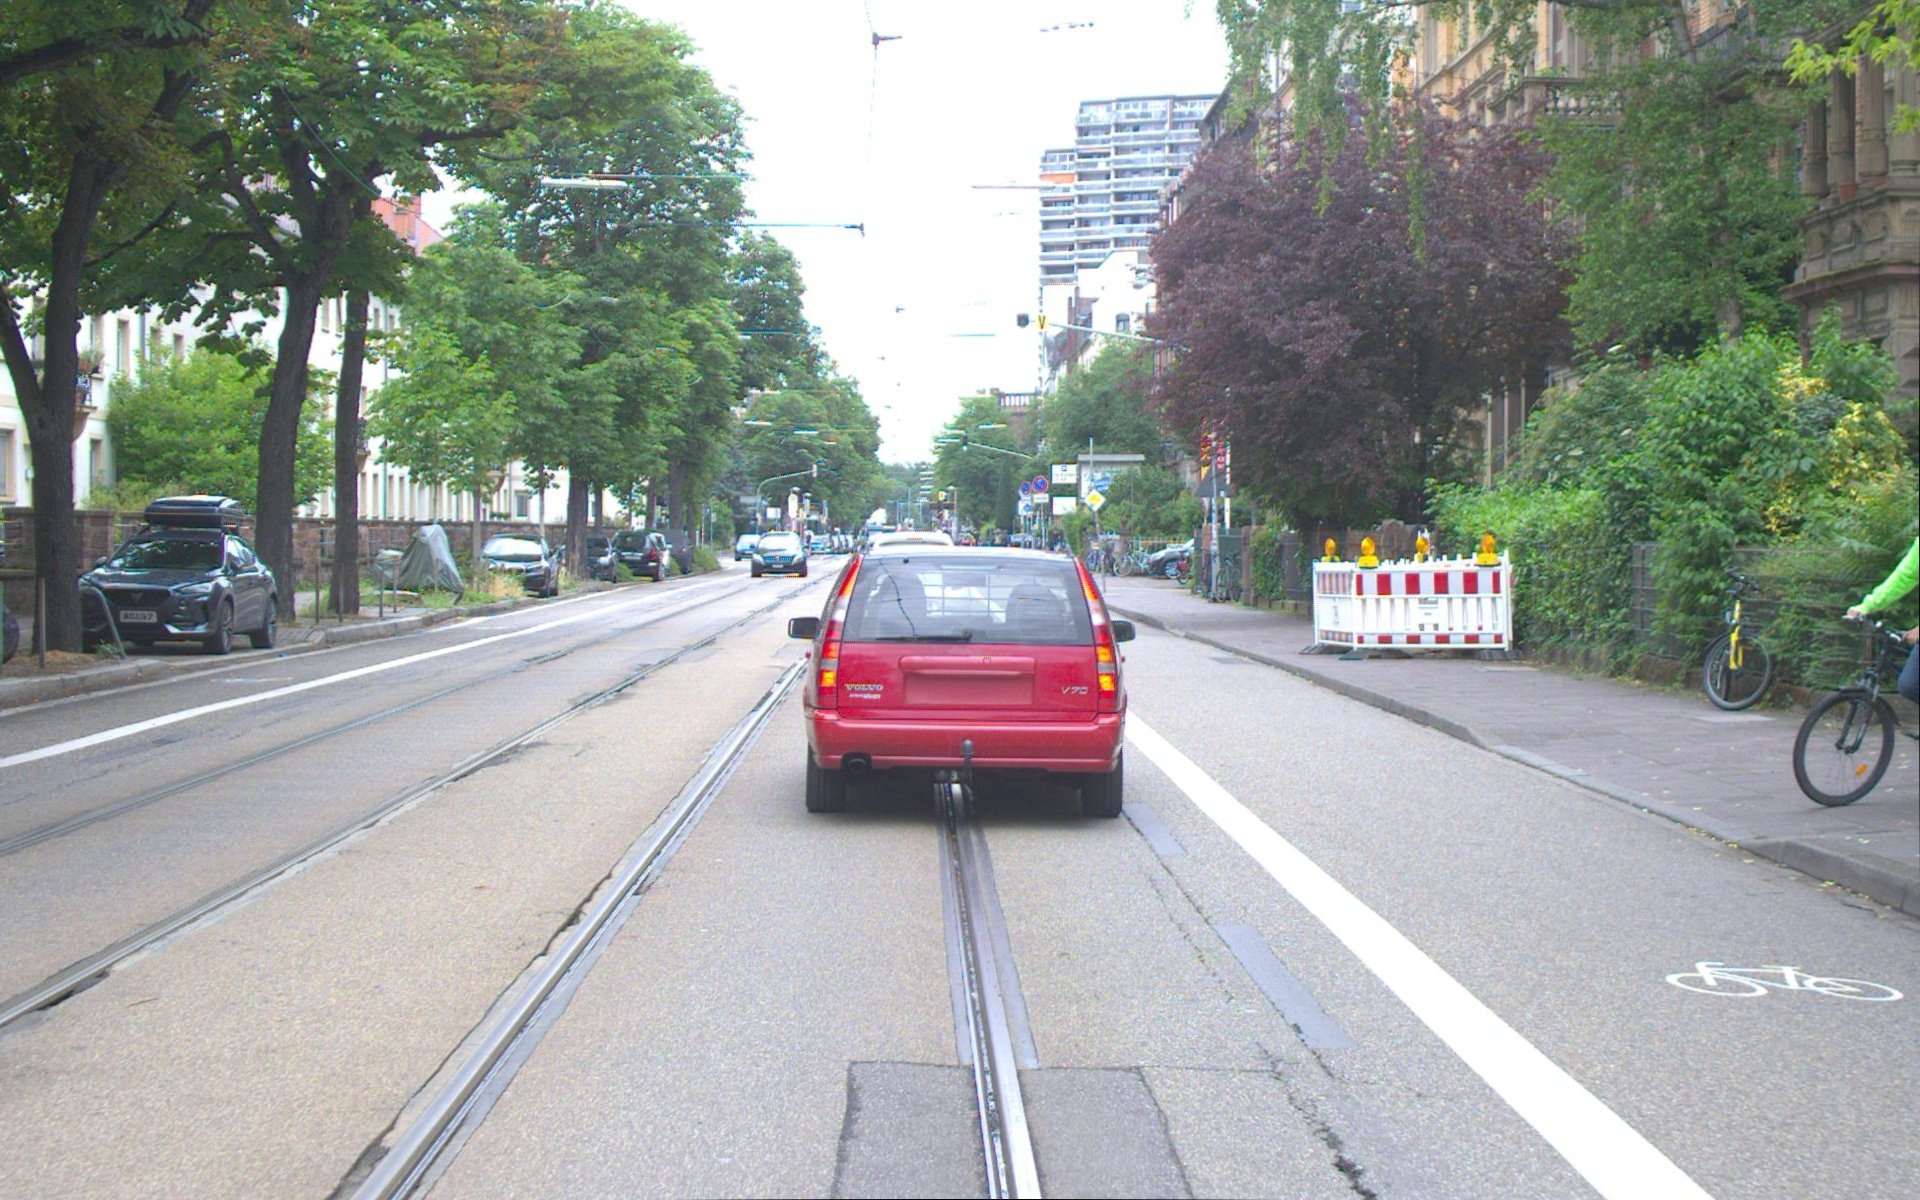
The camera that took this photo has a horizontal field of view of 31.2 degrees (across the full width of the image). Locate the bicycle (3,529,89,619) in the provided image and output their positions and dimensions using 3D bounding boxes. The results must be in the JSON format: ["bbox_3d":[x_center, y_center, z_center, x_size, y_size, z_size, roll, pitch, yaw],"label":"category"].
[{"bbox_3d":[-14.332,-0.424,53.963,0.792,1.377,2.141,0,1,-1],"label":"bicycle"}]

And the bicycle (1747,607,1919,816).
[{"bbox_3d":[5.404,0.587,19.145,1.841,1.072,0.606,-3,1,-2],"label":"bicycle"}]

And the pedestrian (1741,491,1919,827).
[{"bbox_3d":[5.014,0.290,18.637,1.228,1.727,1.018,-3,1,-1],"label":"pedestrian"}]

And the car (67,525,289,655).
[{"bbox_3d":[-9.718,-0.162,43.017,1.777,1.505,4.238,1,1,0],"label":"car"}]

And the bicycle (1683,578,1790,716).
[{"bbox_3d":[6.136,0.354,27.218,0.479,1.041,1.531,0,1,0],"label":"bicycle"}]

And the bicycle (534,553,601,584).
[{"bbox_3d":[-10.847,-0.874,95.042,1.748,0.841,0.684,1,1,1],"label":"bicycle"}]

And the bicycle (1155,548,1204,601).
[{"bbox_3d":[6.473,-0.760,101.207,0.918,1.501,2.379,1,1,16],"label":"bicycle"}]

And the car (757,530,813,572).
[{"bbox_3d":[-5.797,-1.651,114.279,1.755,1.375,4.027,0,1,-2],"label":"car"}]

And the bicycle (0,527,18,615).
[{"bbox_3d":[-15.422,-0.455,54.107,0.627,1.377,2.141,0,1,-1],"label":"bicycle"}]

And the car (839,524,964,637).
[{"bbox_3d":[-0.838,-0.318,51.398,1.719,1.619,3.941,1,1,1],"label":"car"}]

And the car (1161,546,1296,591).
[{"bbox_3d":[8.272,-0.986,105.910,3.988,1.357,1.891,0,1,10],"label":"car"}]

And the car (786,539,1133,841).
[{"bbox_3d":[-0.032,0.415,18.939,1.689,1.436,3.743,1,1,-1],"label":"car"}]

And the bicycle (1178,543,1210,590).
[{"bbox_3d":[5.160,-0.745,75.875,0.523,1.027,2.176,-1,1,-1],"label":"bicycle"}]

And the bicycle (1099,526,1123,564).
[{"bbox_3d":[5.115,-1.867,116.735,0.708,1.296,1.904,0,1,-1],"label":"bicycle"}]

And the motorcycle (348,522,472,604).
[{"bbox_3d":[-10.374,-0.708,64.841,2.269,1.506,0.925,1,0,34],"label":"motorcycle"}]

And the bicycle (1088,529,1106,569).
[{"bbox_3d":[4.807,-1.803,120.881,0.551,1.395,1.734,0,1,-1],"label":"bicycle"}]

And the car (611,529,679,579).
[{"bbox_3d":[-10.044,-1.479,109.921,1.851,1.557,3.943,1,1,-1],"label":"car"}]

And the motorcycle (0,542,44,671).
[{"bbox_3d":[-10.052,0.065,34.128,0.864,1.284,2.321,1,1,13],"label":"motorcycle"}]
